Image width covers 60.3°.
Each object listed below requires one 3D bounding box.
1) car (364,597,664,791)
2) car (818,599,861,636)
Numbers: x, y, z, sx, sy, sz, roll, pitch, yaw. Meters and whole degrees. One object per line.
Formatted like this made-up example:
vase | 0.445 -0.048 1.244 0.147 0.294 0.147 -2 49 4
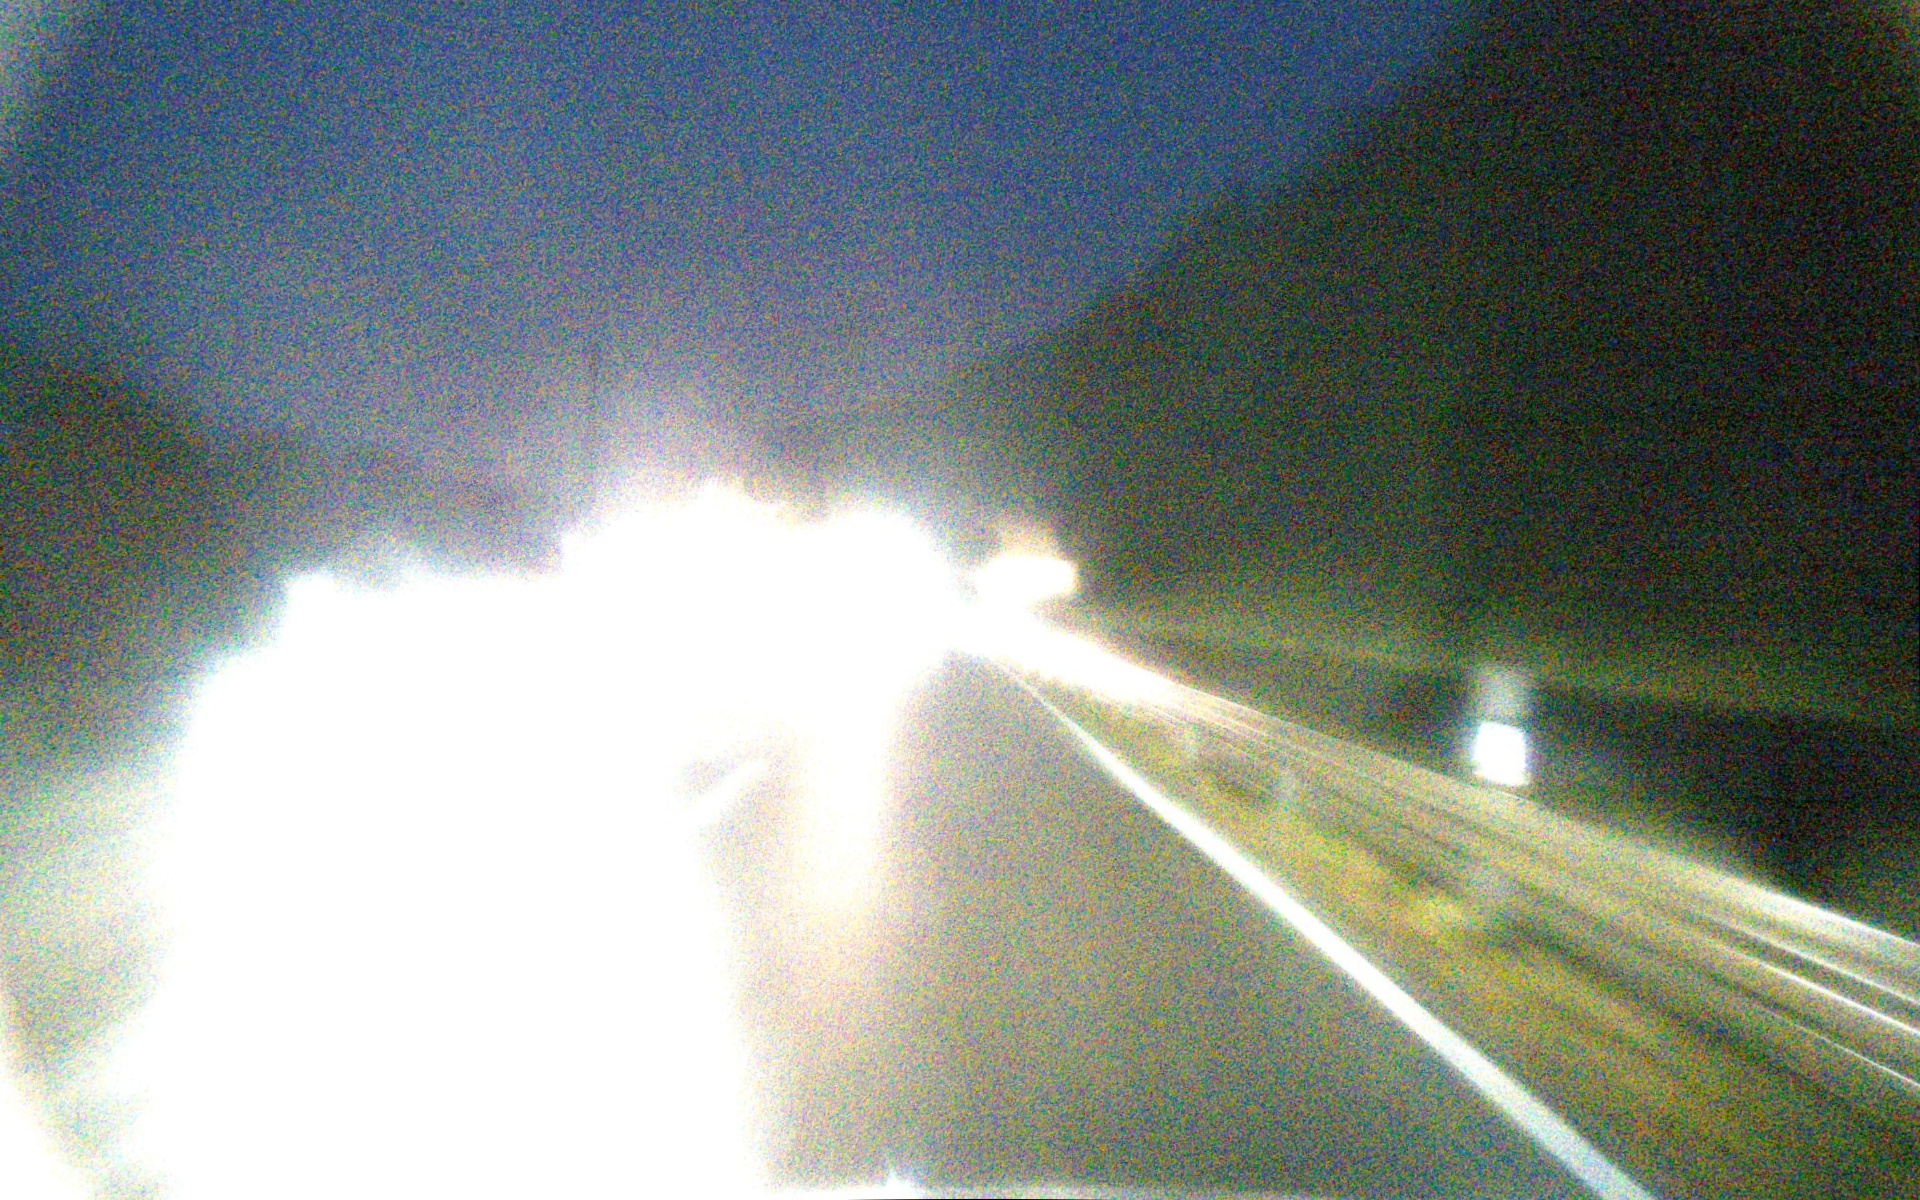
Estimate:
car | -3.567 0.682 13.853 1.608 1.383 3.679 1 0 -2
car | -5.620 0.816 77.197 1.831 1.641 3.845 1 0 -2
